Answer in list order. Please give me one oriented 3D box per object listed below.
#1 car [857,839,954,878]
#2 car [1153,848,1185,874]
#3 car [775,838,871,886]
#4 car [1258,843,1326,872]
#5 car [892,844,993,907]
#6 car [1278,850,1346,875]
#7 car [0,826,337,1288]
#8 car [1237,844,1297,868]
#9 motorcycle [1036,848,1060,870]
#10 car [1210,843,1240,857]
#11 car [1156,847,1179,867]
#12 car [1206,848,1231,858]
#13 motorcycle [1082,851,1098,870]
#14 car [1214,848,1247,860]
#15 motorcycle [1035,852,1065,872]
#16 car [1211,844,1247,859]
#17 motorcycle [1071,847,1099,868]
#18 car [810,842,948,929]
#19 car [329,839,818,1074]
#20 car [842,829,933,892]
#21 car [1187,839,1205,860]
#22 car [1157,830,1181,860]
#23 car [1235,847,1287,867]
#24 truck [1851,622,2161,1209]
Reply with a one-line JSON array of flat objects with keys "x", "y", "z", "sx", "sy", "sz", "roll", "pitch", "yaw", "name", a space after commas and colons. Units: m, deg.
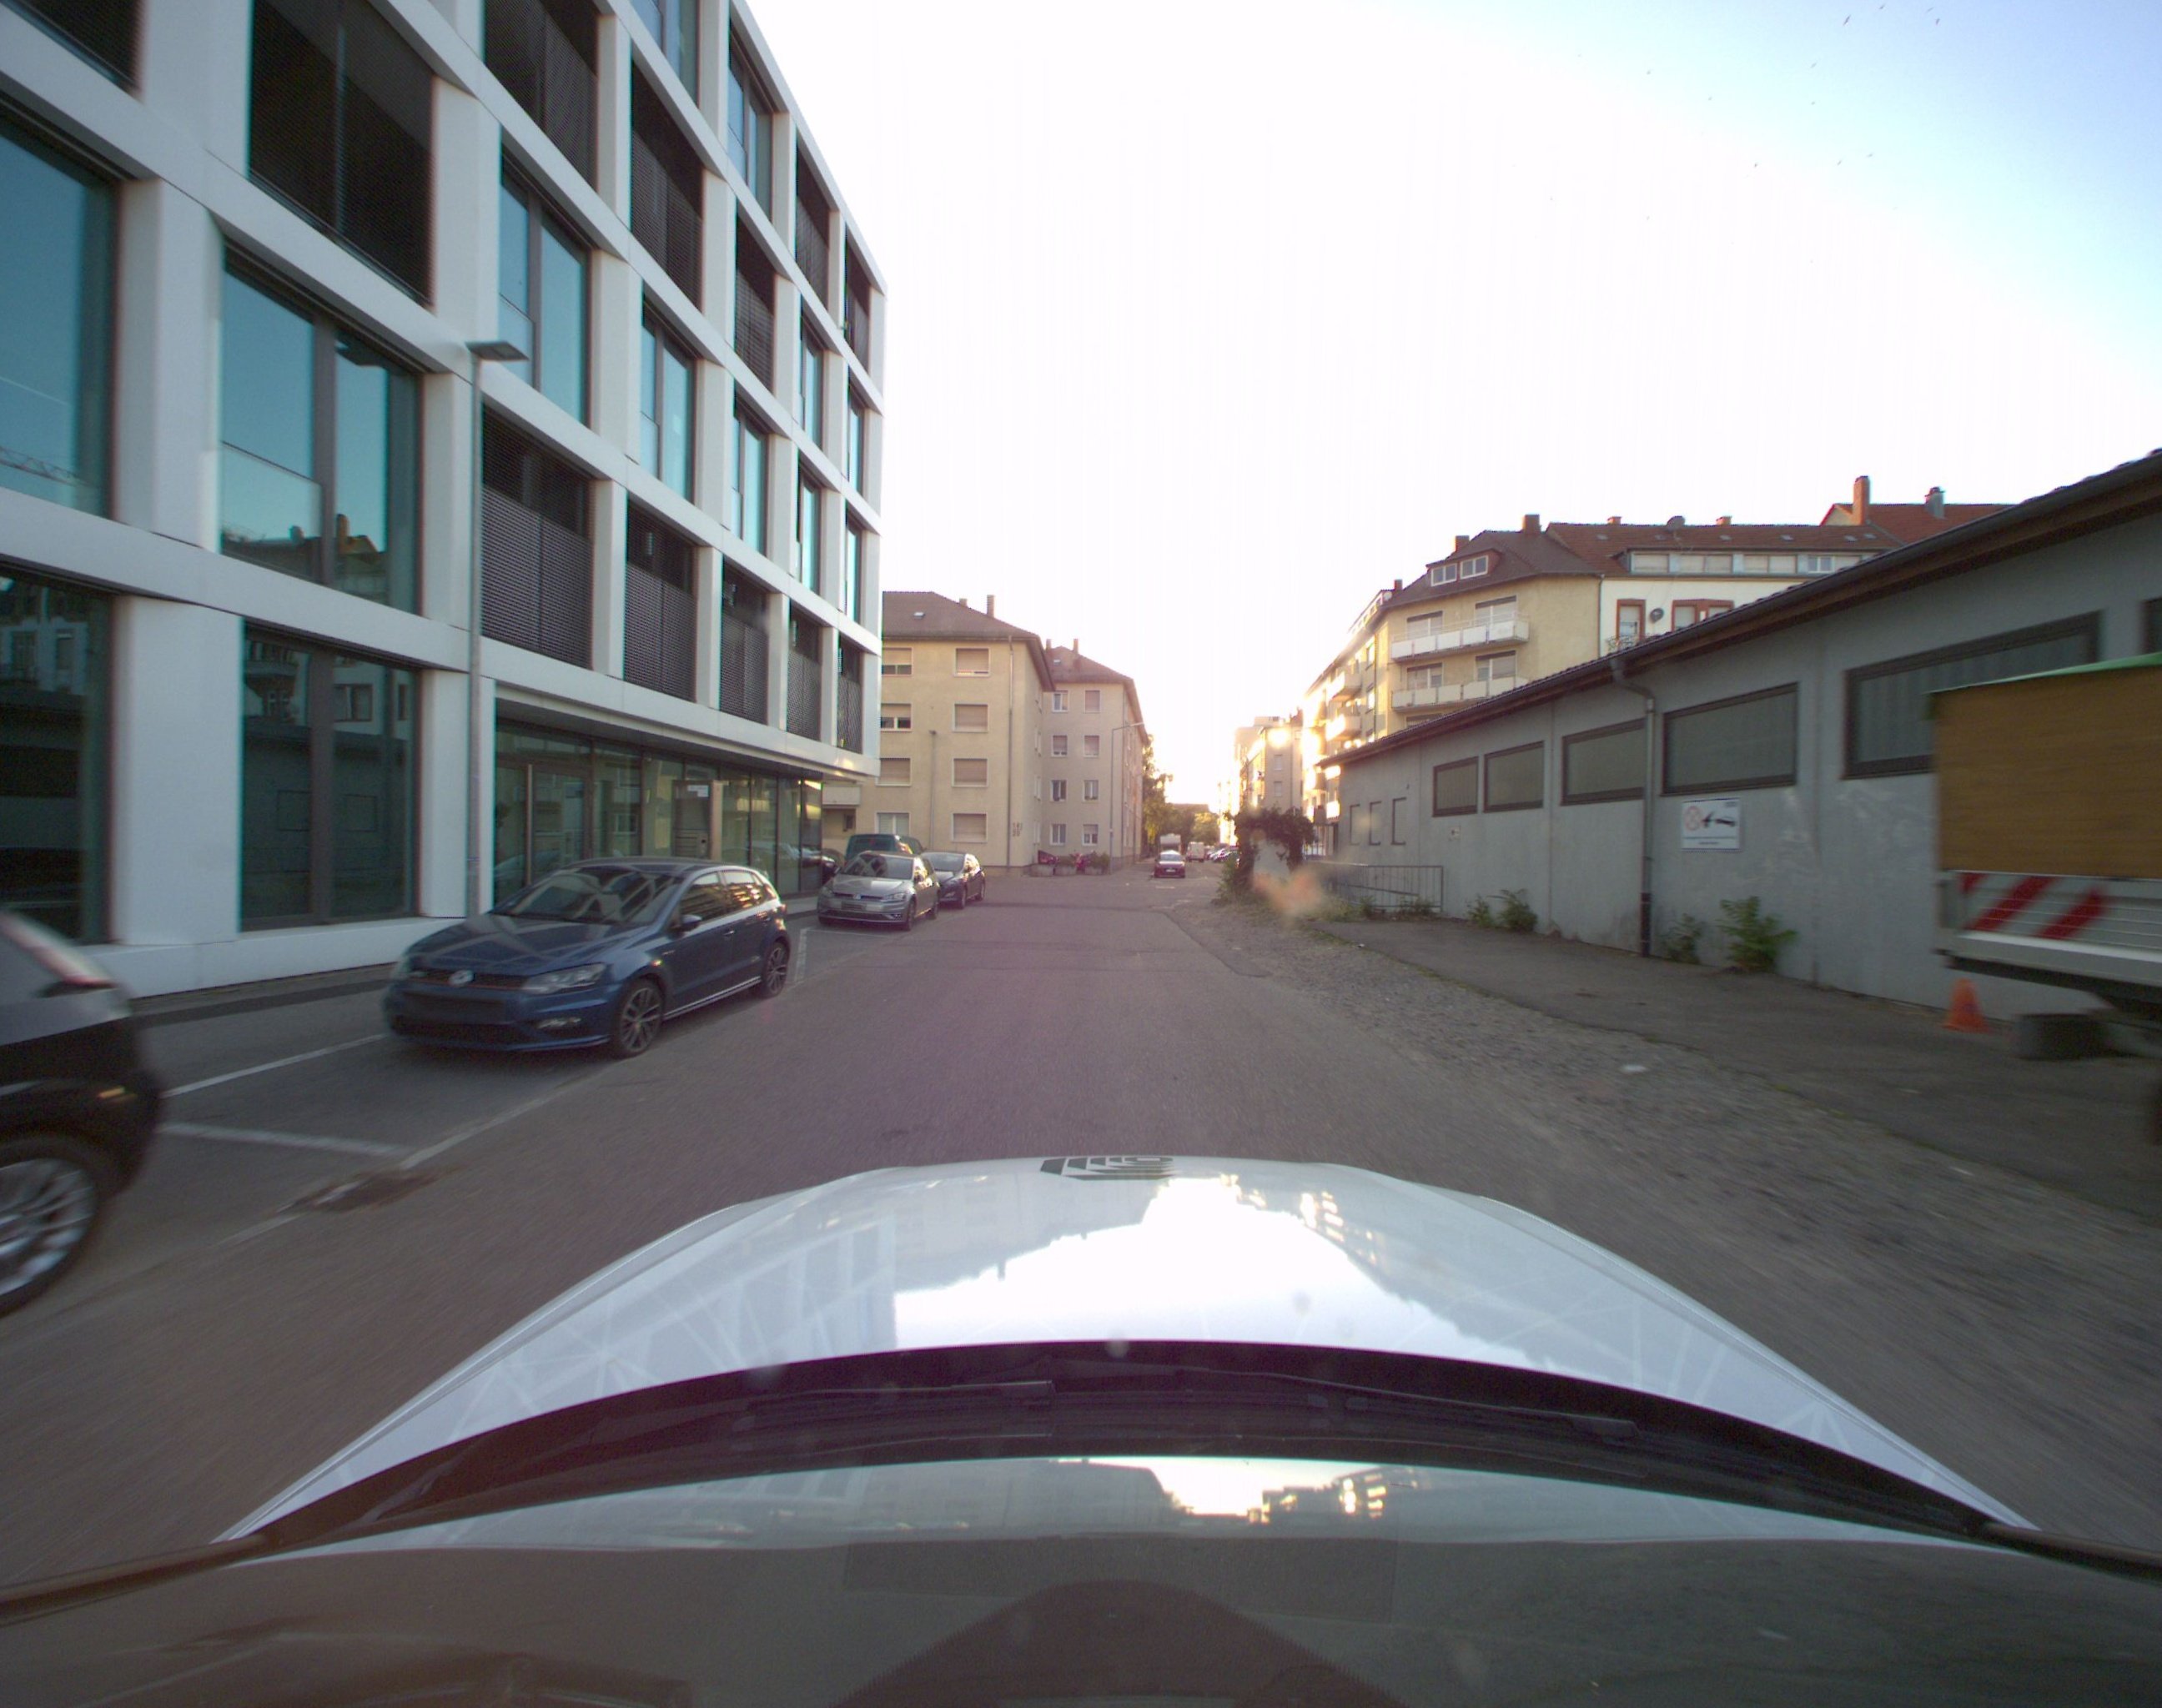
[{"x": -8.042, "y": 0.183, "z": 37.570, "sx": 3.992, "sy": 1.617, "sz": 1.882, "roll": 1, "pitch": 5, "yaw": 1, "name": "car"}, {"x": 5.247, "y": 0.412, "z": 48.811, "sx": 1.836, "sy": 1.473, "sz": 4.084, "roll": 1, "pitch": 0, "yaw": 5, "name": "car"}, {"x": -8.941, "y": 0.318, "z": 28.643, "sx": 1.772, "sy": 1.550, "sz": 4.334, "roll": 1, "pitch": -1, "yaw": 3, "name": "car"}, {"x": 14.101, "y": 0.237, "z": 54.606, "sx": 4.257, "sy": 1.860, "sz": 1.744, "roll": 1, "pitch": 0, "yaw": 6, "name": "car"}, {"x": -3.758, "y": 0.534, "z": 22.913, "sx": 1.772, "sy": 1.478, "sz": 4.335, "roll": 4, "pitch": 1, "yaw": 3, "name": "car"}, {"x": 14.491, "y": 0.505, "z": 51.220, "sx": 3.852, "sy": 1.492, "sz": 1.745, "roll": 1, "pitch": 0, "yaw": 6, "name": "car"}, {"x": -4.415, "y": 0.665, "z": 1.665, "sx": 1.641, "sy": 1.438, "sz": 4.207, "roll": 4, "pitch": 1, "yaw": 4, "name": "car"}, {"x": 15.729, "y": 0.153, "z": 68.999, "sx": 4.699, "sy": 1.909, "sz": 2.062, "roll": -1, "pitch": 0, "yaw": 5, "name": "car"}, {"x": -1.871, "y": 0.271, "z": 46.972, "sx": 0.718, "sy": 1.264, "sz": 2.090, "roll": 1, "pitch": 0, "yaw": 17, "name": "motorcycle"}, {"x": 20.902, "y": -0.595, "z": 118.248, "sx": 3.971, "sy": 2.013, "sz": 2.001, "roll": 1, "pitch": 0, "yaw": 2, "name": "car"}, {"x": 6.515, "y": 0.222, "z": 61.672, "sx": 1.608, "sy": 1.473, "sz": 3.509, "roll": -1, "pitch": 0, "yaw": 5, "name": "car"}, {"x": 22.299, "y": -0.195, "z": 131.959, "sx": 3.967, "sy": 1.530, "sz": 1.662, "roll": -1, "pitch": 0, "yaw": 5, "name": "car"}, {"x": 0.549, "y": 0.379, "z": 49.339, "sx": 0.678, "sy": 1.079, "sz": 2.039, "roll": 1, "pitch": 0, "yaw": 8, "name": "motorcycle"}, {"x": 19.243, "y": -0.034, "z": 104.921, "sx": 3.967, "sy": 1.530, "sz": 1.662, "roll": -1, "pitch": 0, "yaw": 5, "name": "car"}, {"x": -1.672, "y": 0.427, "z": 44.669, "sx": 0.716, "sy": 1.079, "sz": 2.093, "roll": 1, "pitch": 0, "yaw": 27, "name": "motorcycle"}, {"x": 20.400, "y": -0.321, "z": 112.200, "sx": 4.789, "sy": 1.967, "sz": 1.742, "roll": -1, "pitch": 0, "yaw": 5, "name": "car"}, {"x": 0.238, "y": 0.179, "z": 46.942, "sx": 0.682, "sy": 1.160, "sz": 2.047, "roll": 1, "pitch": 0, "yaw": 30, "name": "motorcycle"}, {"x": -4.050, "y": 0.547, "z": 17.053, "sx": 1.704, "sy": 1.478, "sz": 4.185, "roll": 4, "pitch": 1, "yaw": 0, "name": "car"}, {"x": -4.032, "y": 0.651, "z": 7.469, "sx": 1.642, "sy": 1.438, "sz": 4.187, "roll": 4, "pitch": 1, "yaw": 2, "name": "car"}, {"x": -6.519, "y": 0.161, "z": 28.023, "sx": 1.790, "sy": 1.979, "sz": 4.693, "roll": 1, "pitch": 1, "yaw": 3, "name": "car"}, {"x": 15.233, "y": -0.605, "z": 108.035, "sx": 2.118, "sy": 2.717, "sz": 4.840, "roll": -1, "pitch": 0, "yaw": 5, "name": "car"}, {"x": 10.227, "y": -0.978, "z": 93.923, "sx": 2.606, "sy": 3.269, "sz": 7.711, "roll": -1, "pitch": 0, "yaw": 7, "name": "car"}, {"x": 15.862, "y": 0.289, "z": 71.834, "sx": 4.303, "sy": 1.637, "sz": 1.821, "roll": -1, "pitch": 0, "yaw": 5, "name": "car"}, {"x": 5.017, "y": 0.249, "z": 1.455, "sx": 2.089, "sy": 2.200, "sz": 5.715, "roll": 1, "pitch": 0, "yaw": 3, "name": "truck"}]
